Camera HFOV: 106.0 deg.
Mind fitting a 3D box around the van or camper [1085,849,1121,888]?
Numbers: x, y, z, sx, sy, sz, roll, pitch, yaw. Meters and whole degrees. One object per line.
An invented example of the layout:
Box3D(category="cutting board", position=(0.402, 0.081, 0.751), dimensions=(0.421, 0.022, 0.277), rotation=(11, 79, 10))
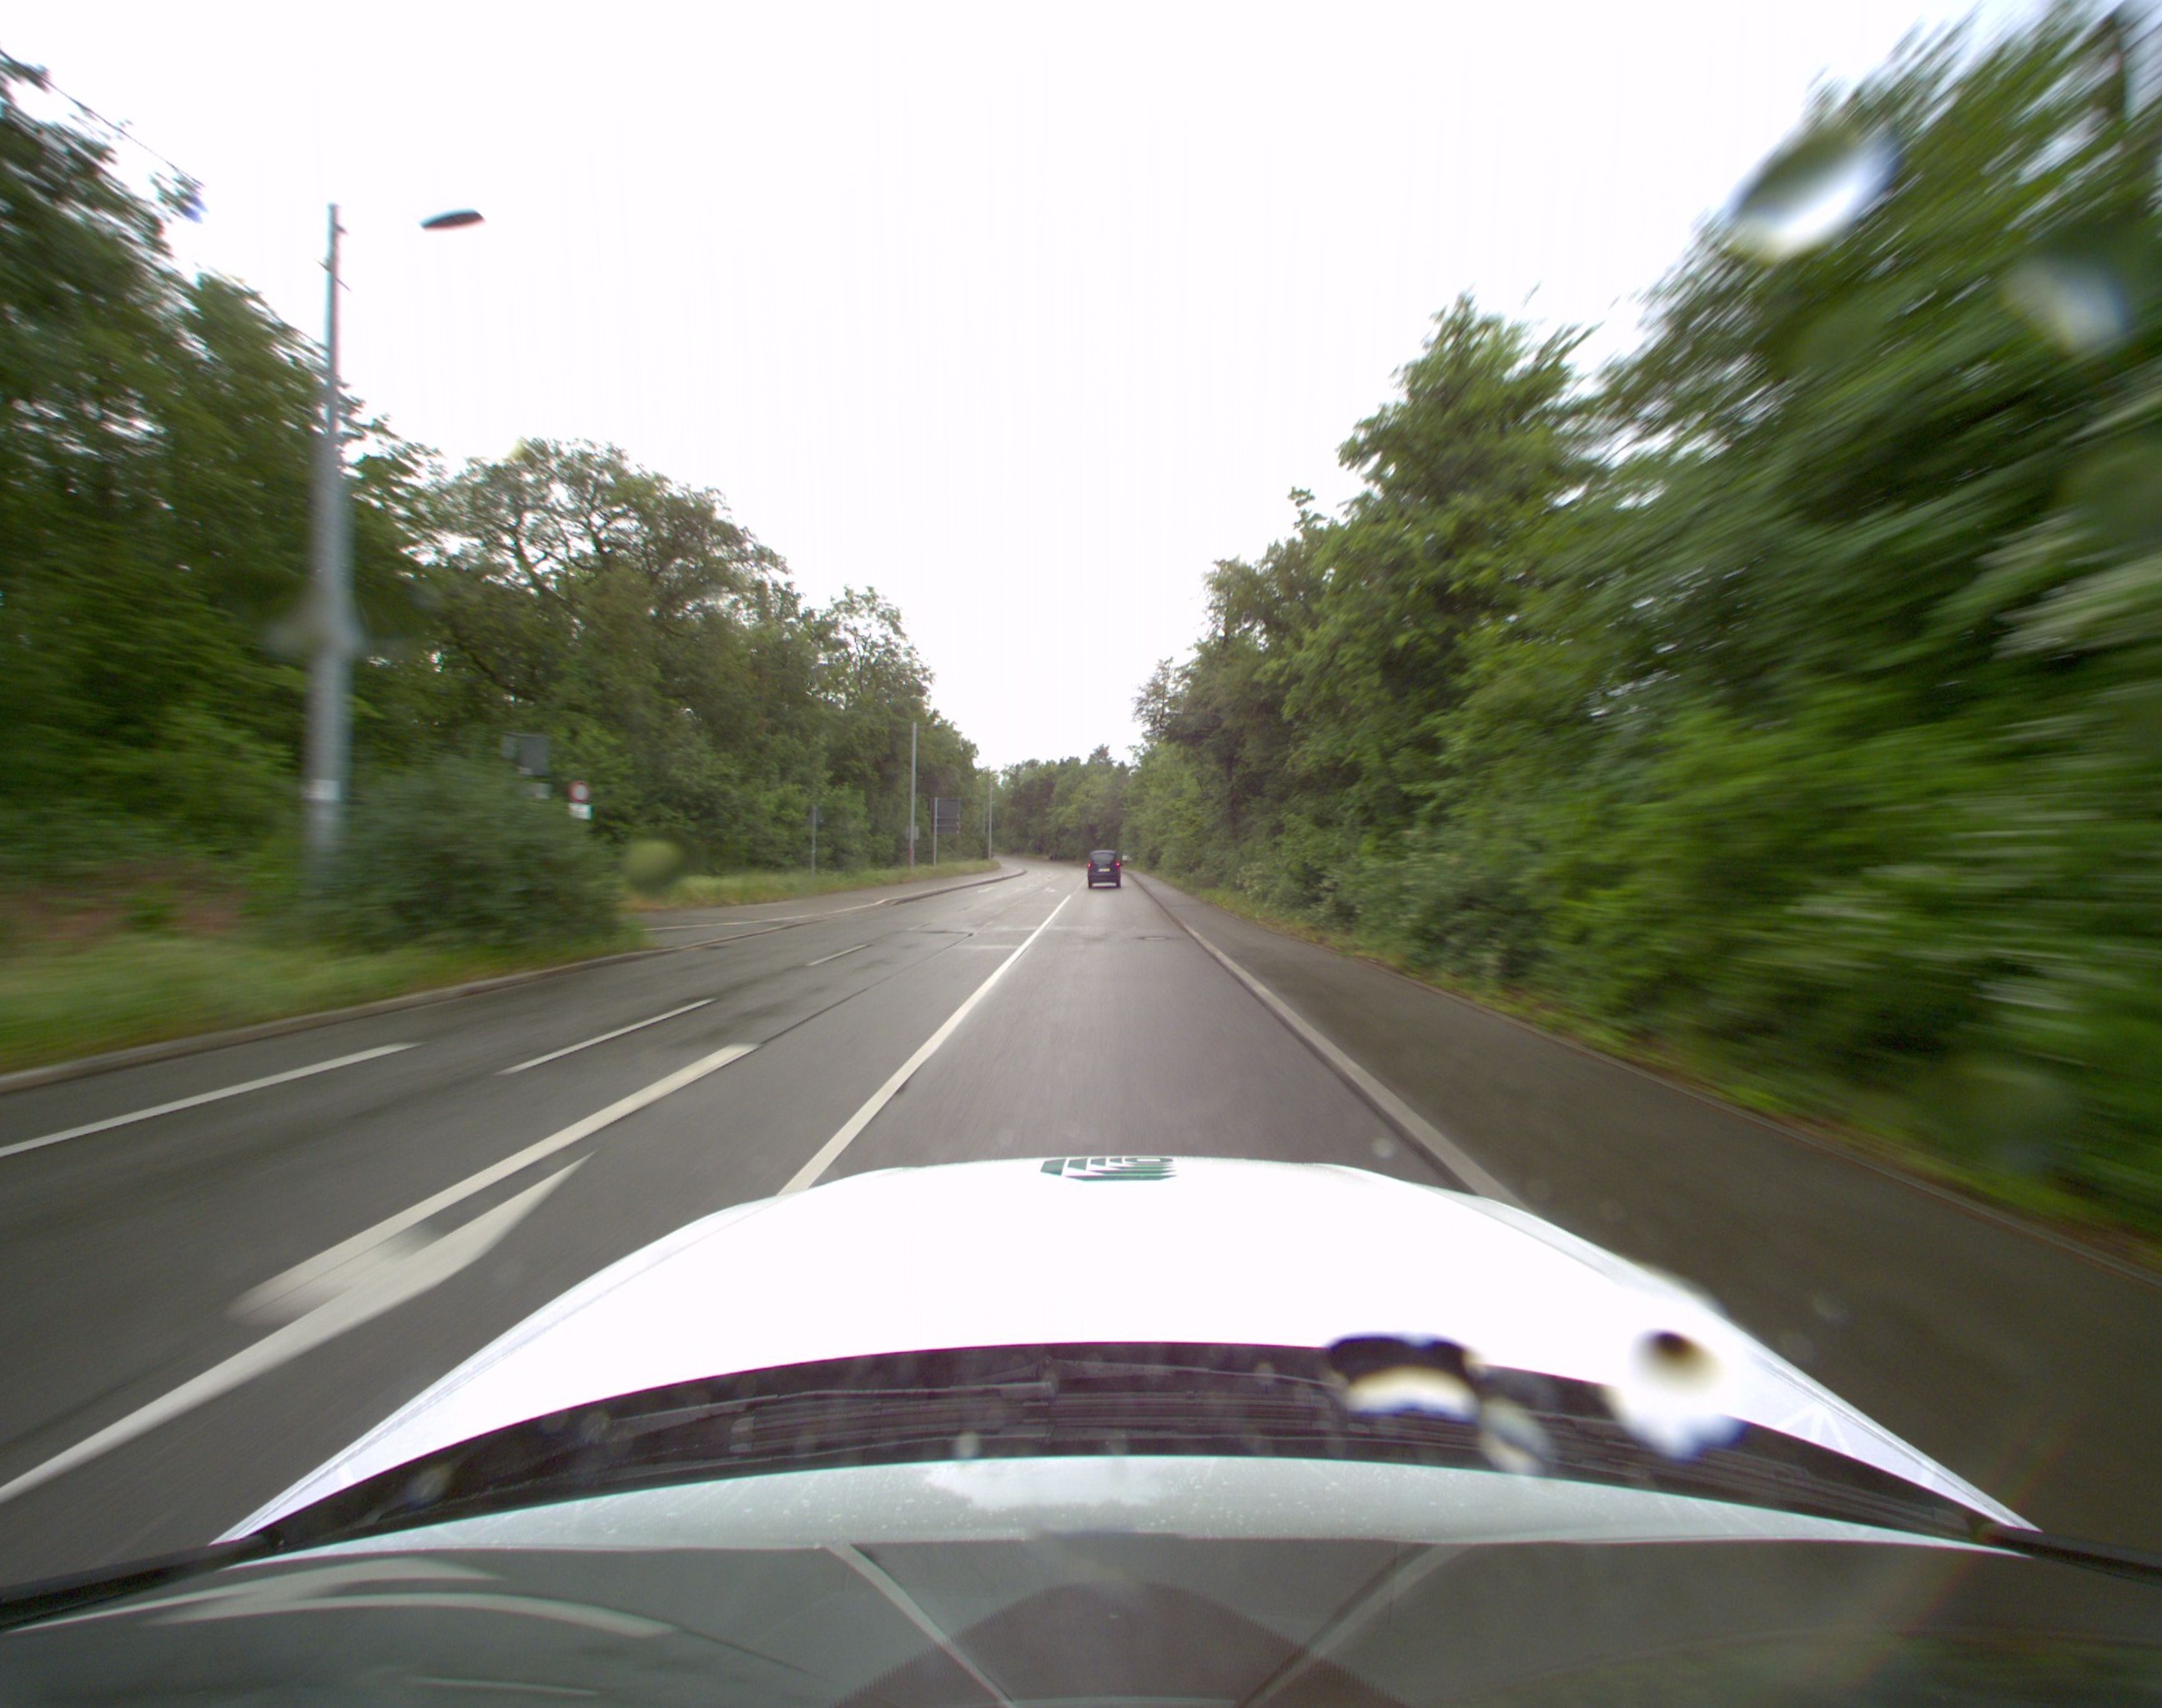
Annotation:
Box3D(category="van or camper", position=(1.067, 0.736, 41.401), dimensions=(1.707, 1.826, 3.998), rotation=(-1, -1, 0))

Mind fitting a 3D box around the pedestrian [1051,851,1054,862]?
Box3D(category="pedestrian", position=(-4.709, 0.411, 134.244), dimensions=(0.490, 1.870, 0.677), rotation=(0, 0, -11))
